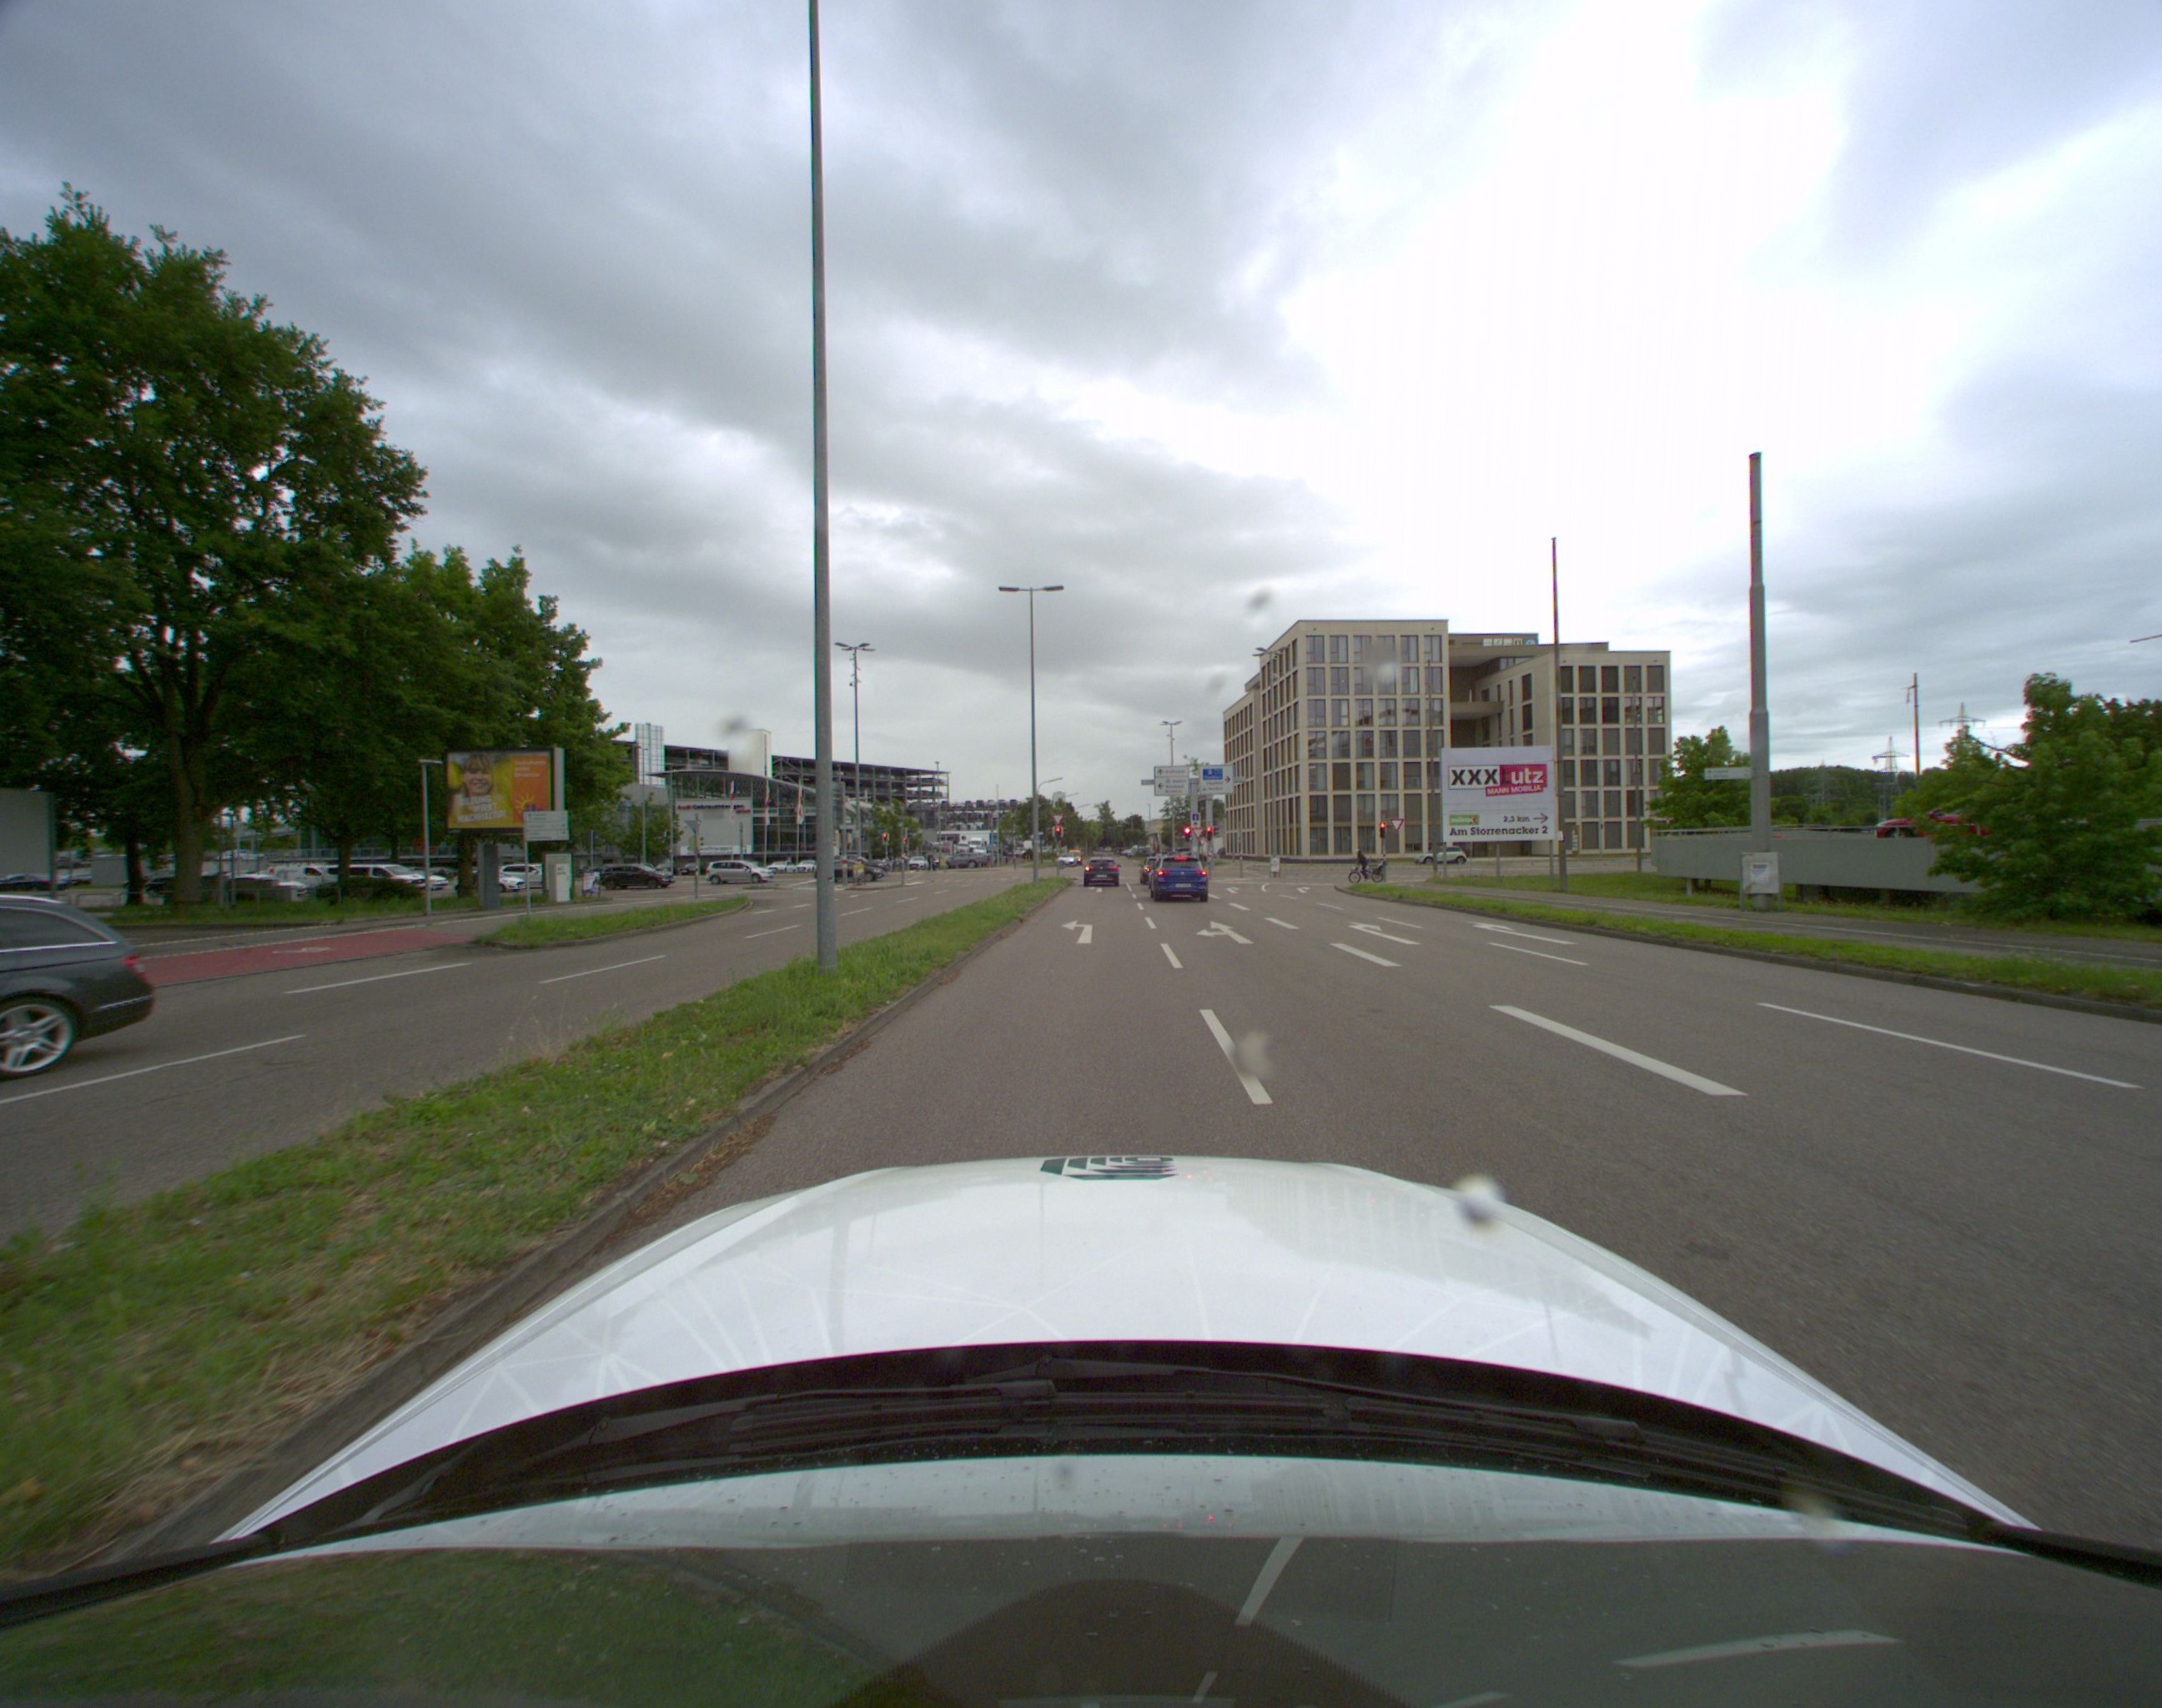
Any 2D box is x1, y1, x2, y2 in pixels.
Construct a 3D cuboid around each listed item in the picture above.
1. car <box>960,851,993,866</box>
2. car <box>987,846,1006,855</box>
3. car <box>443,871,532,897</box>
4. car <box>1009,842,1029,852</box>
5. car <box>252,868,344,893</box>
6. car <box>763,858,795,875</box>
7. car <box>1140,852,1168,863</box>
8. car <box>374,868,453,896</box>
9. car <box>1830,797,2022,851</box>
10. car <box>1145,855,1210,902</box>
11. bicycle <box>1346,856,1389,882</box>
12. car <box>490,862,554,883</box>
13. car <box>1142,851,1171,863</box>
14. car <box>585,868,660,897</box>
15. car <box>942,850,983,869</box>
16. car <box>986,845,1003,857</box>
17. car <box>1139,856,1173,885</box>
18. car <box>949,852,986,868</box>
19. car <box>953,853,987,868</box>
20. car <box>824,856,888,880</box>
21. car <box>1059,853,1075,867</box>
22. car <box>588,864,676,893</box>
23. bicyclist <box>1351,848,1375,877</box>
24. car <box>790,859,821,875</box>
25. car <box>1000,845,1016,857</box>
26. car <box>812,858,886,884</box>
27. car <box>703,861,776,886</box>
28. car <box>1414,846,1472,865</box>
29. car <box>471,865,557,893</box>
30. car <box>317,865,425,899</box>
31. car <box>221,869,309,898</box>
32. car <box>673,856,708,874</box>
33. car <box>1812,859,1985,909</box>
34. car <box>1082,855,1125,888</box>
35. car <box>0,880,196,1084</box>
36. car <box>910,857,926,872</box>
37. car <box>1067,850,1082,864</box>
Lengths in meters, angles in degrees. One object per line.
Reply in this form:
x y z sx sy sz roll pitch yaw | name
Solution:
-12.240 0.549 95.544 3.598 1.667 1.547 -1 2 -4 | car
-16.584 -0.708 160.250 3.658 1.528 1.611 -1 2 -6 | car
-38.795 1.959 53.296 4.218 1.512 1.992 -1 1 -3 | car
-10.510 -1.137 138.897 3.287 1.640 1.479 -1 2 -2 | car
-53.488 1.784 55.699 4.218 1.504 1.992 -1 1 -3 | car
-29.282 1.208 79.144 1.713 1.400 3.536 -1 2 1 | car
10.449 0.464 115.850 3.572 1.478 1.769 0 2 21 | car
-45.874 1.911 56.035 3.753 1.746 1.878 -1 2 -4 | car
28.689 -1.029 27.864 1.836 1.679 4.246 -1 2 -12 | car
3.274 0.795 28.231 1.828 1.514 4.000 0 0 1 | car
14.945 0.763 42.446 1.986 1.295 0.706 0 0 43 | bicycle
-46.421 1.548 67.637 3.938 1.567 1.756 -1 2 -7 | car
10.224 0.373 109.910 3.573 1.478 1.769 0 2 19 | car
-32.003 1.977 56.921 3.979 1.661 1.997 -4 1 -4 | car
-12.319 0.540 84.869 3.979 1.790 1.845 -1 2 -4 | car
-13.663 -0.448 128.838 1.767 1.705 3.923 -1 2 6 | car
3.911 0.835 42.886 1.519 1.432 3.391 0 1 1 | car
-12.118 0.606 87.281 3.815 1.589 1.680 -1 2 -4 | car
-12.492 0.733 91.828 3.598 1.476 1.547 -1 2 -4 | car
-16.824 1.027 61.060 4.401 1.643 1.994 -1 2 -9 | car
-1.500 0.636 88.604 1.595 1.453 3.326 -1 2 1 | car
-29.439 1.602 53.479 4.537 1.659 1.996 -2 0 -6 | car
14.764 0.432 42.593 0.987 1.504 0.706 0 0 43 | bicyclist
-26.781 1.228 79.165 1.713 1.400 3.536 -1 2 1 | car
-11.480 -0.481 128.861 1.767 1.705 3.923 -1 2 6 | car
-15.463 1.097 54.496 4.410 1.660 1.996 -1 0 -6 | car
-23.890 1.358 57.139 4.242 1.509 1.996 -1 2 -6 | car
30.534 0.126 68.756 4.178 1.490 1.694 -1 2 0 | car
-39.161 1.704 56.343 4.425 1.711 1.998 -1 3 -5 | car
-45.909 1.787 52.743 5.120 1.963 1.879 -1 3 -3 | car
-52.657 1.882 52.588 3.843 1.651 1.732 -1 2 0 | car
-37.646 1.030 78.645 1.592 1.485 3.536 -1 2 1 | car
35.504 1.231 35.647 2.447 2.013 5.107 0 0 0 | car
1.058 0.837 40.785 1.982 1.428 4.240 -1 1 -1 | car
-9.008 1.012 5.106 1.784 1.479 4.535 -3 0 3 | car
-16.016 1.009 79.957 1.372 1.326 3.021 -1 2 -13 | car
-0.730 0.353 96.742 1.595 1.453 3.326 -1 2 1 | car
